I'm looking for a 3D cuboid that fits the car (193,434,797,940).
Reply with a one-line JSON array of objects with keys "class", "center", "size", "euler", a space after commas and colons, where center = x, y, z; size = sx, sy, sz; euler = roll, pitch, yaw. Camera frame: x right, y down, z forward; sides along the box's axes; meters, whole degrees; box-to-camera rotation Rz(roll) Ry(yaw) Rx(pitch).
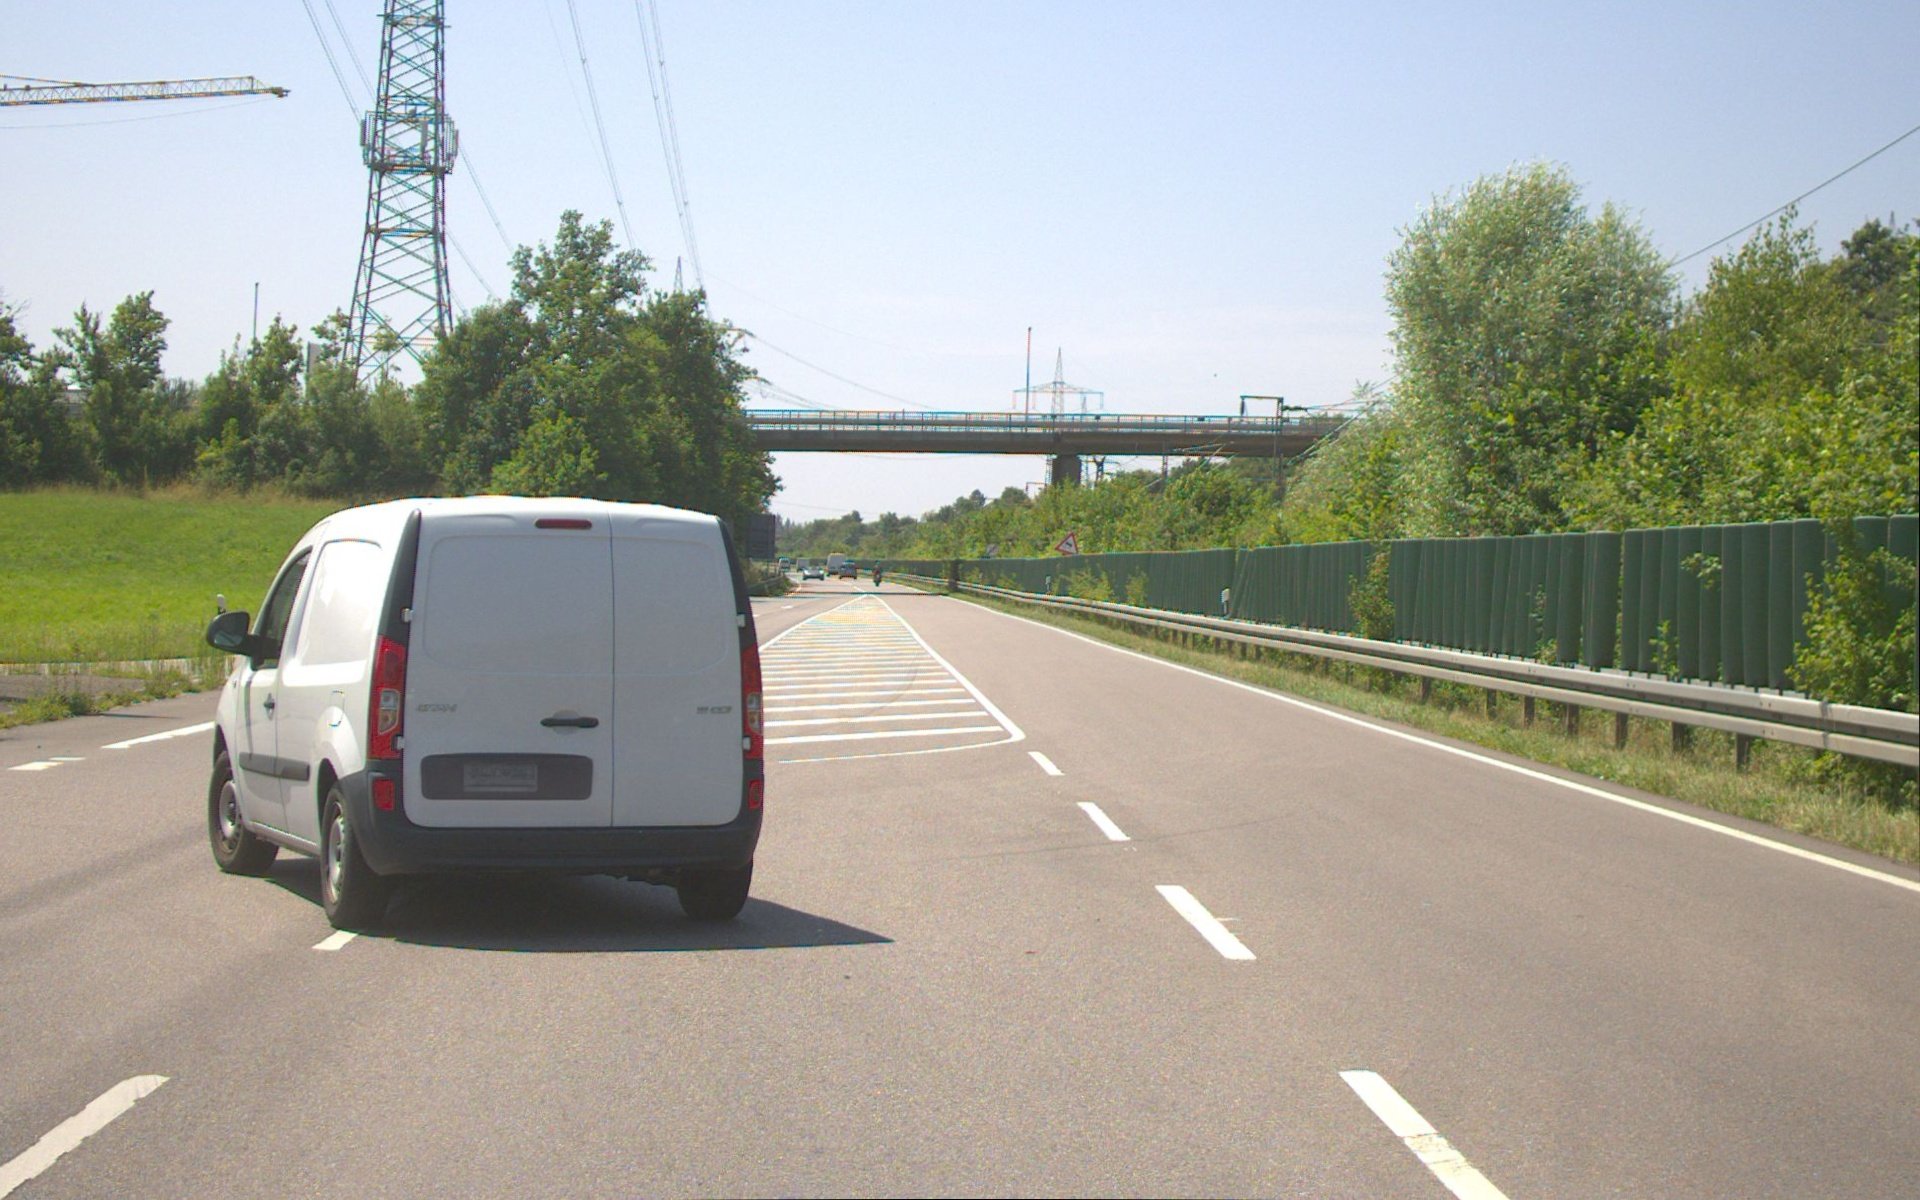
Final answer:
[{"class": "car", "center": [-2.234, 0.312, 15.520], "size": [1.826, 1.964, 4.001], "euler": [0, 1, -21]}]
